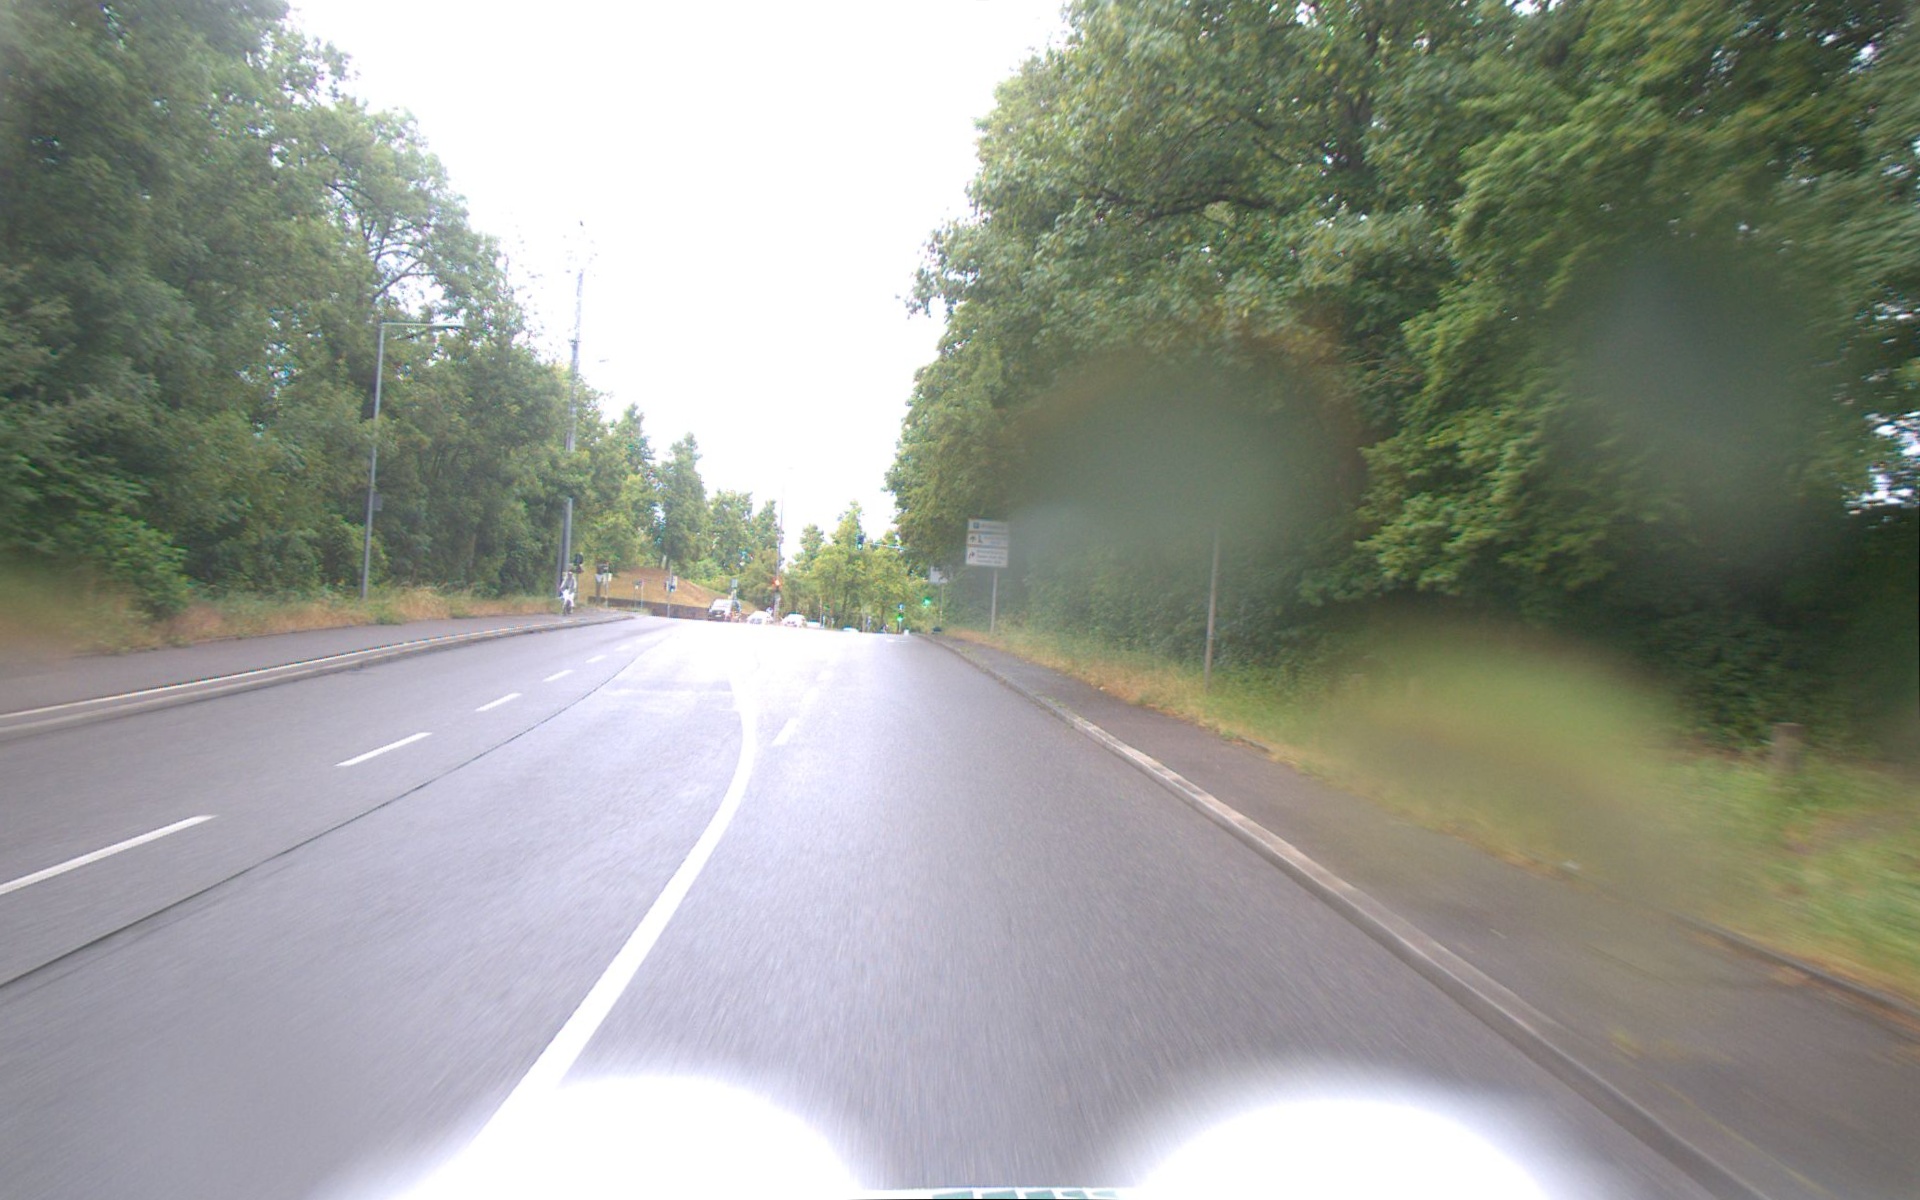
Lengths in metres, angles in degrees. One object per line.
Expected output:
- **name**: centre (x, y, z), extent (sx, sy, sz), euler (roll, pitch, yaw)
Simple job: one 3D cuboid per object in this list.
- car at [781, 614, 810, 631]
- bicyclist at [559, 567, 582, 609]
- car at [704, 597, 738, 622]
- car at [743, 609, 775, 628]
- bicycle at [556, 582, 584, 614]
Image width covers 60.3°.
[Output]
- **car**: centre (-14.567, 2.028, 146.729), extent (1.857, 1.378, 4.001), euler (1, -2, 4)
- **bicyclist**: centre (-15.825, -0.499, 67.237), extent (0.690, 1.673, 0.950), euler (2, 0, -4)
- **car**: centre (-18.977, 0.796, 131.598), extent (1.952, 1.881, 4.000), euler (1, -2, 1)
- **car**: centre (-17.931, 1.686, 147.634), extent (1.857, 1.578, 4.002), euler (1, -2, 8)
- **bicycle**: centre (-15.842, -0.076, 67.229), extent (0.690, 1.264, 2.162), euler (2, 0, -4)
